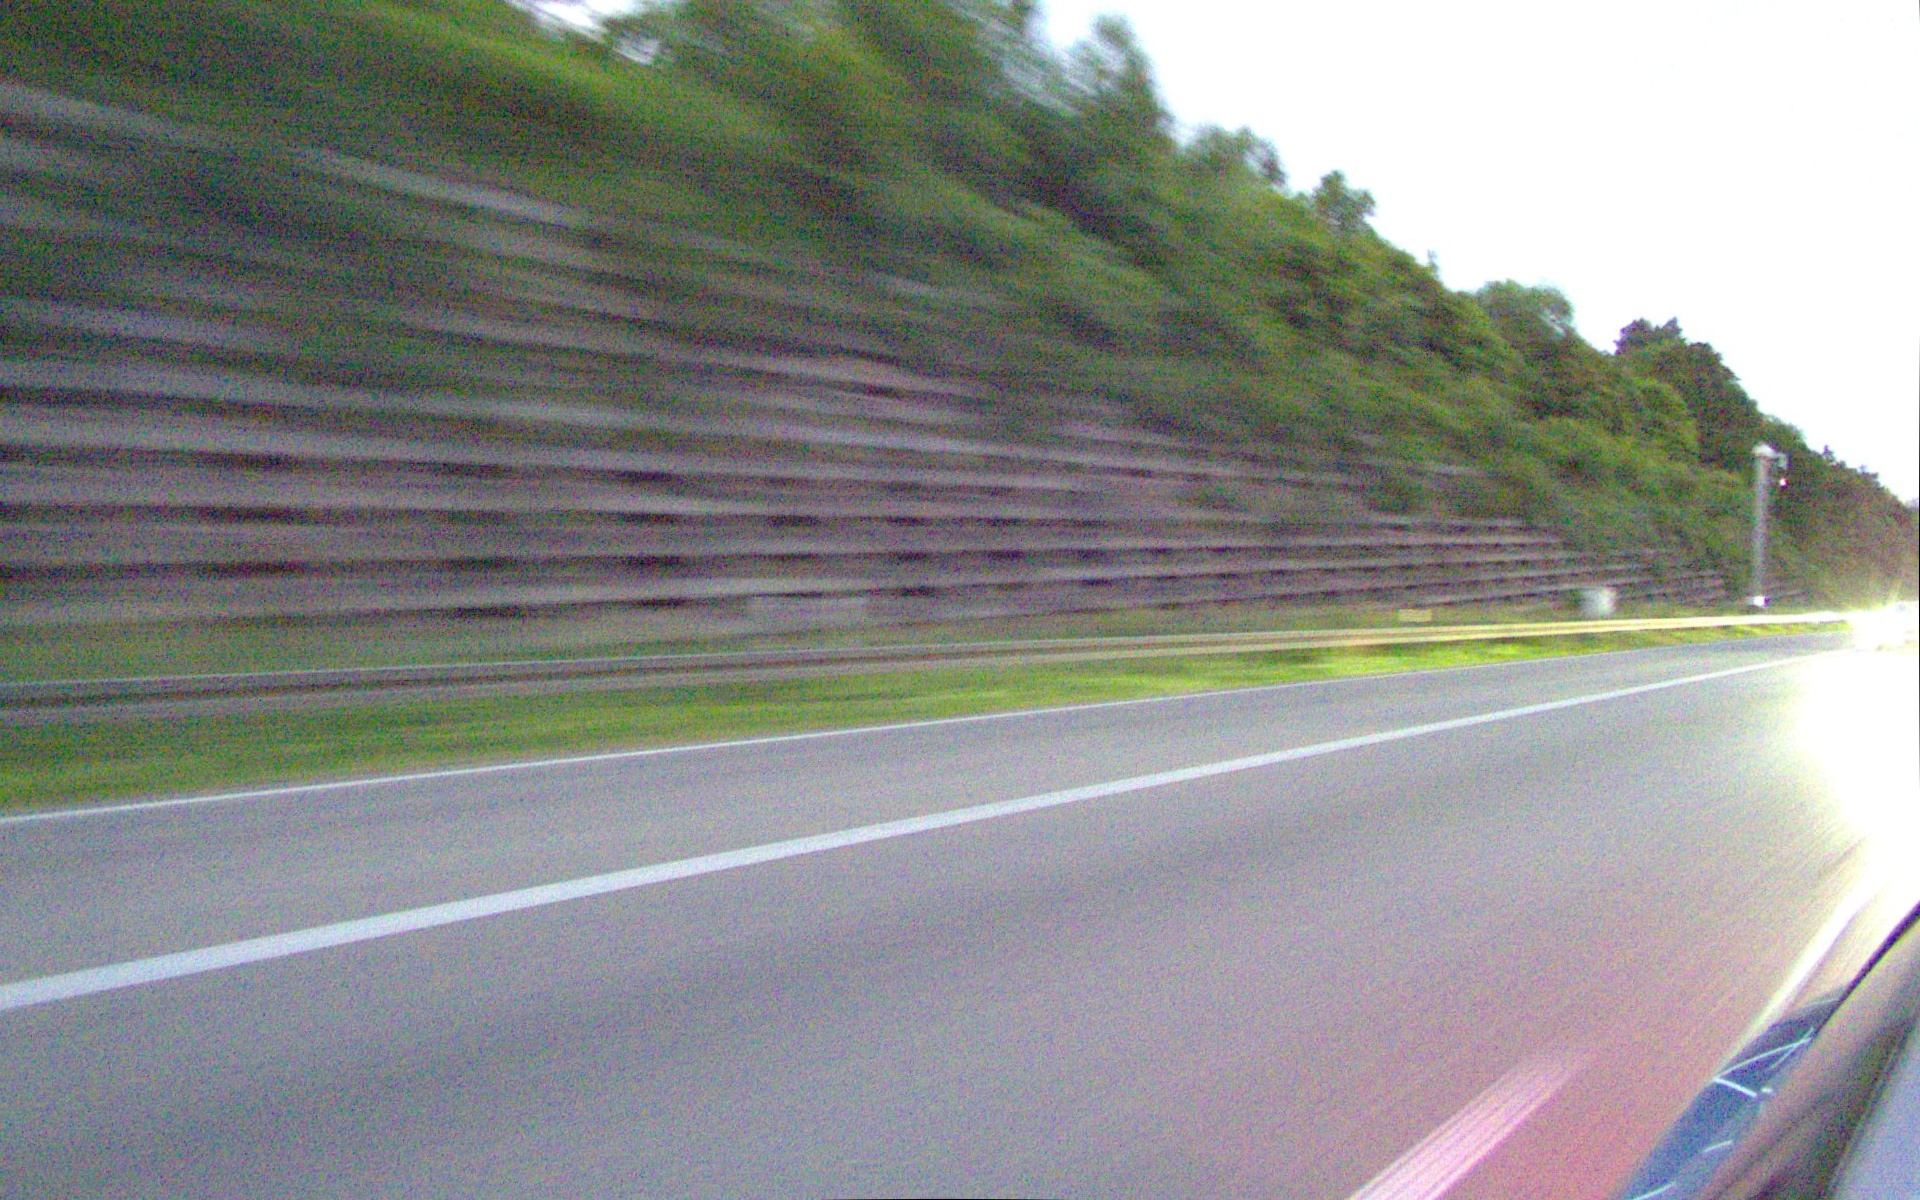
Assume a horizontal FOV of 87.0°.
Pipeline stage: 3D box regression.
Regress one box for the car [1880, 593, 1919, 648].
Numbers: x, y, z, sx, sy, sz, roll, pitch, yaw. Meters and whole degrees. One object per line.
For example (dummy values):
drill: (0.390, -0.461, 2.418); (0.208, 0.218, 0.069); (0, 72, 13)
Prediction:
car: (27.691, 0.537, 28.722); (4.505, 1.454, 1.868); (-1, 0, -42)
